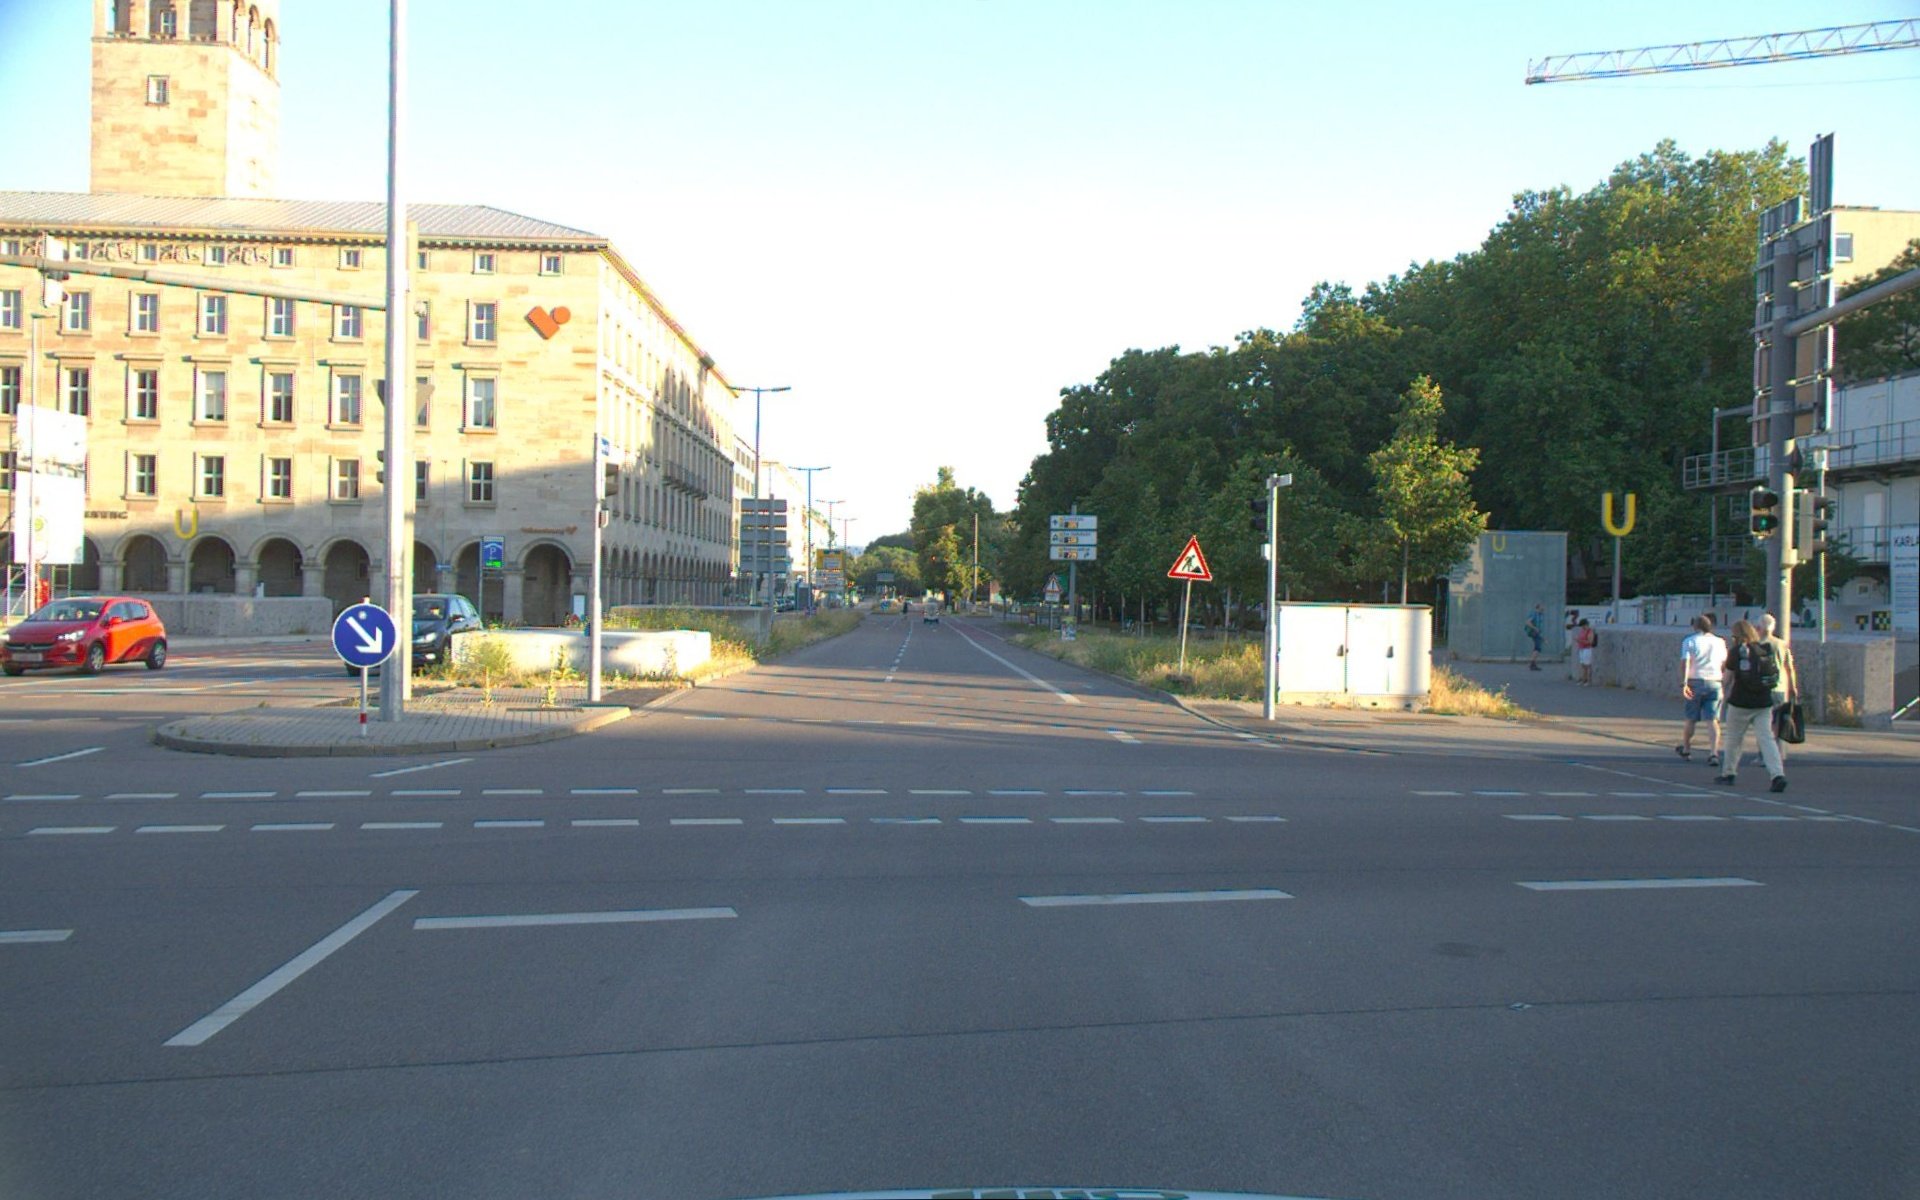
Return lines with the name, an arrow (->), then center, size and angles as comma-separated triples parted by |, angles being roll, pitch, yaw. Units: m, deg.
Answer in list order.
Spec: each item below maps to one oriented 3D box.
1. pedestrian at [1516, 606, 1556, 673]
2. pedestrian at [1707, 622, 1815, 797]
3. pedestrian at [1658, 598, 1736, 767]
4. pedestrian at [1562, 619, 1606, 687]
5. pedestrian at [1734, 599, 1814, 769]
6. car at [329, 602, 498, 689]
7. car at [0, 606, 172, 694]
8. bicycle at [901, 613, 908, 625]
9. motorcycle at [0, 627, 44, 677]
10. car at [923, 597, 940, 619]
pedestrian -> 16.025, 1.087, 46.030 | 0.797, 1.847, 1.047 | 1, 0, 3
pedestrian -> 7.840, 1.050, 16.222 | 0.629, 1.656, 0.871 | 1, 0, 0
pedestrian -> 8.722, 0.962, 19.578 | 0.629, 1.967, 0.619 | 1, 0, 0
pedestrian -> 14.410, 1.222, 38.198 | 0.745, 1.517, 0.644 | 1, 1, -2
pedestrian -> 9.585, 0.975, 19.490 | 0.629, 1.967, 0.619 | 1, 0, 0
car -> -10.134, 0.826, 31.022 | 1.849, 1.491, 4.534 | 1, -1, -3
car -> -17.010, 0.922, 32.199 | 1.602, 1.553, 3.997 | 1, 0, -4
bicycle -> -5.159, 1.746, 152.580 | 0.624, 1.087, 2.068 | 1, 0, -2
motorcycle -> -28.897, 1.501, 48.752 | 3.169, 1.407, 0.839 | 2, -1, -4
car -> -2.462, 0.692, 143.538 | 1.429, 1.812, 2.564 | 1, 0, 0
